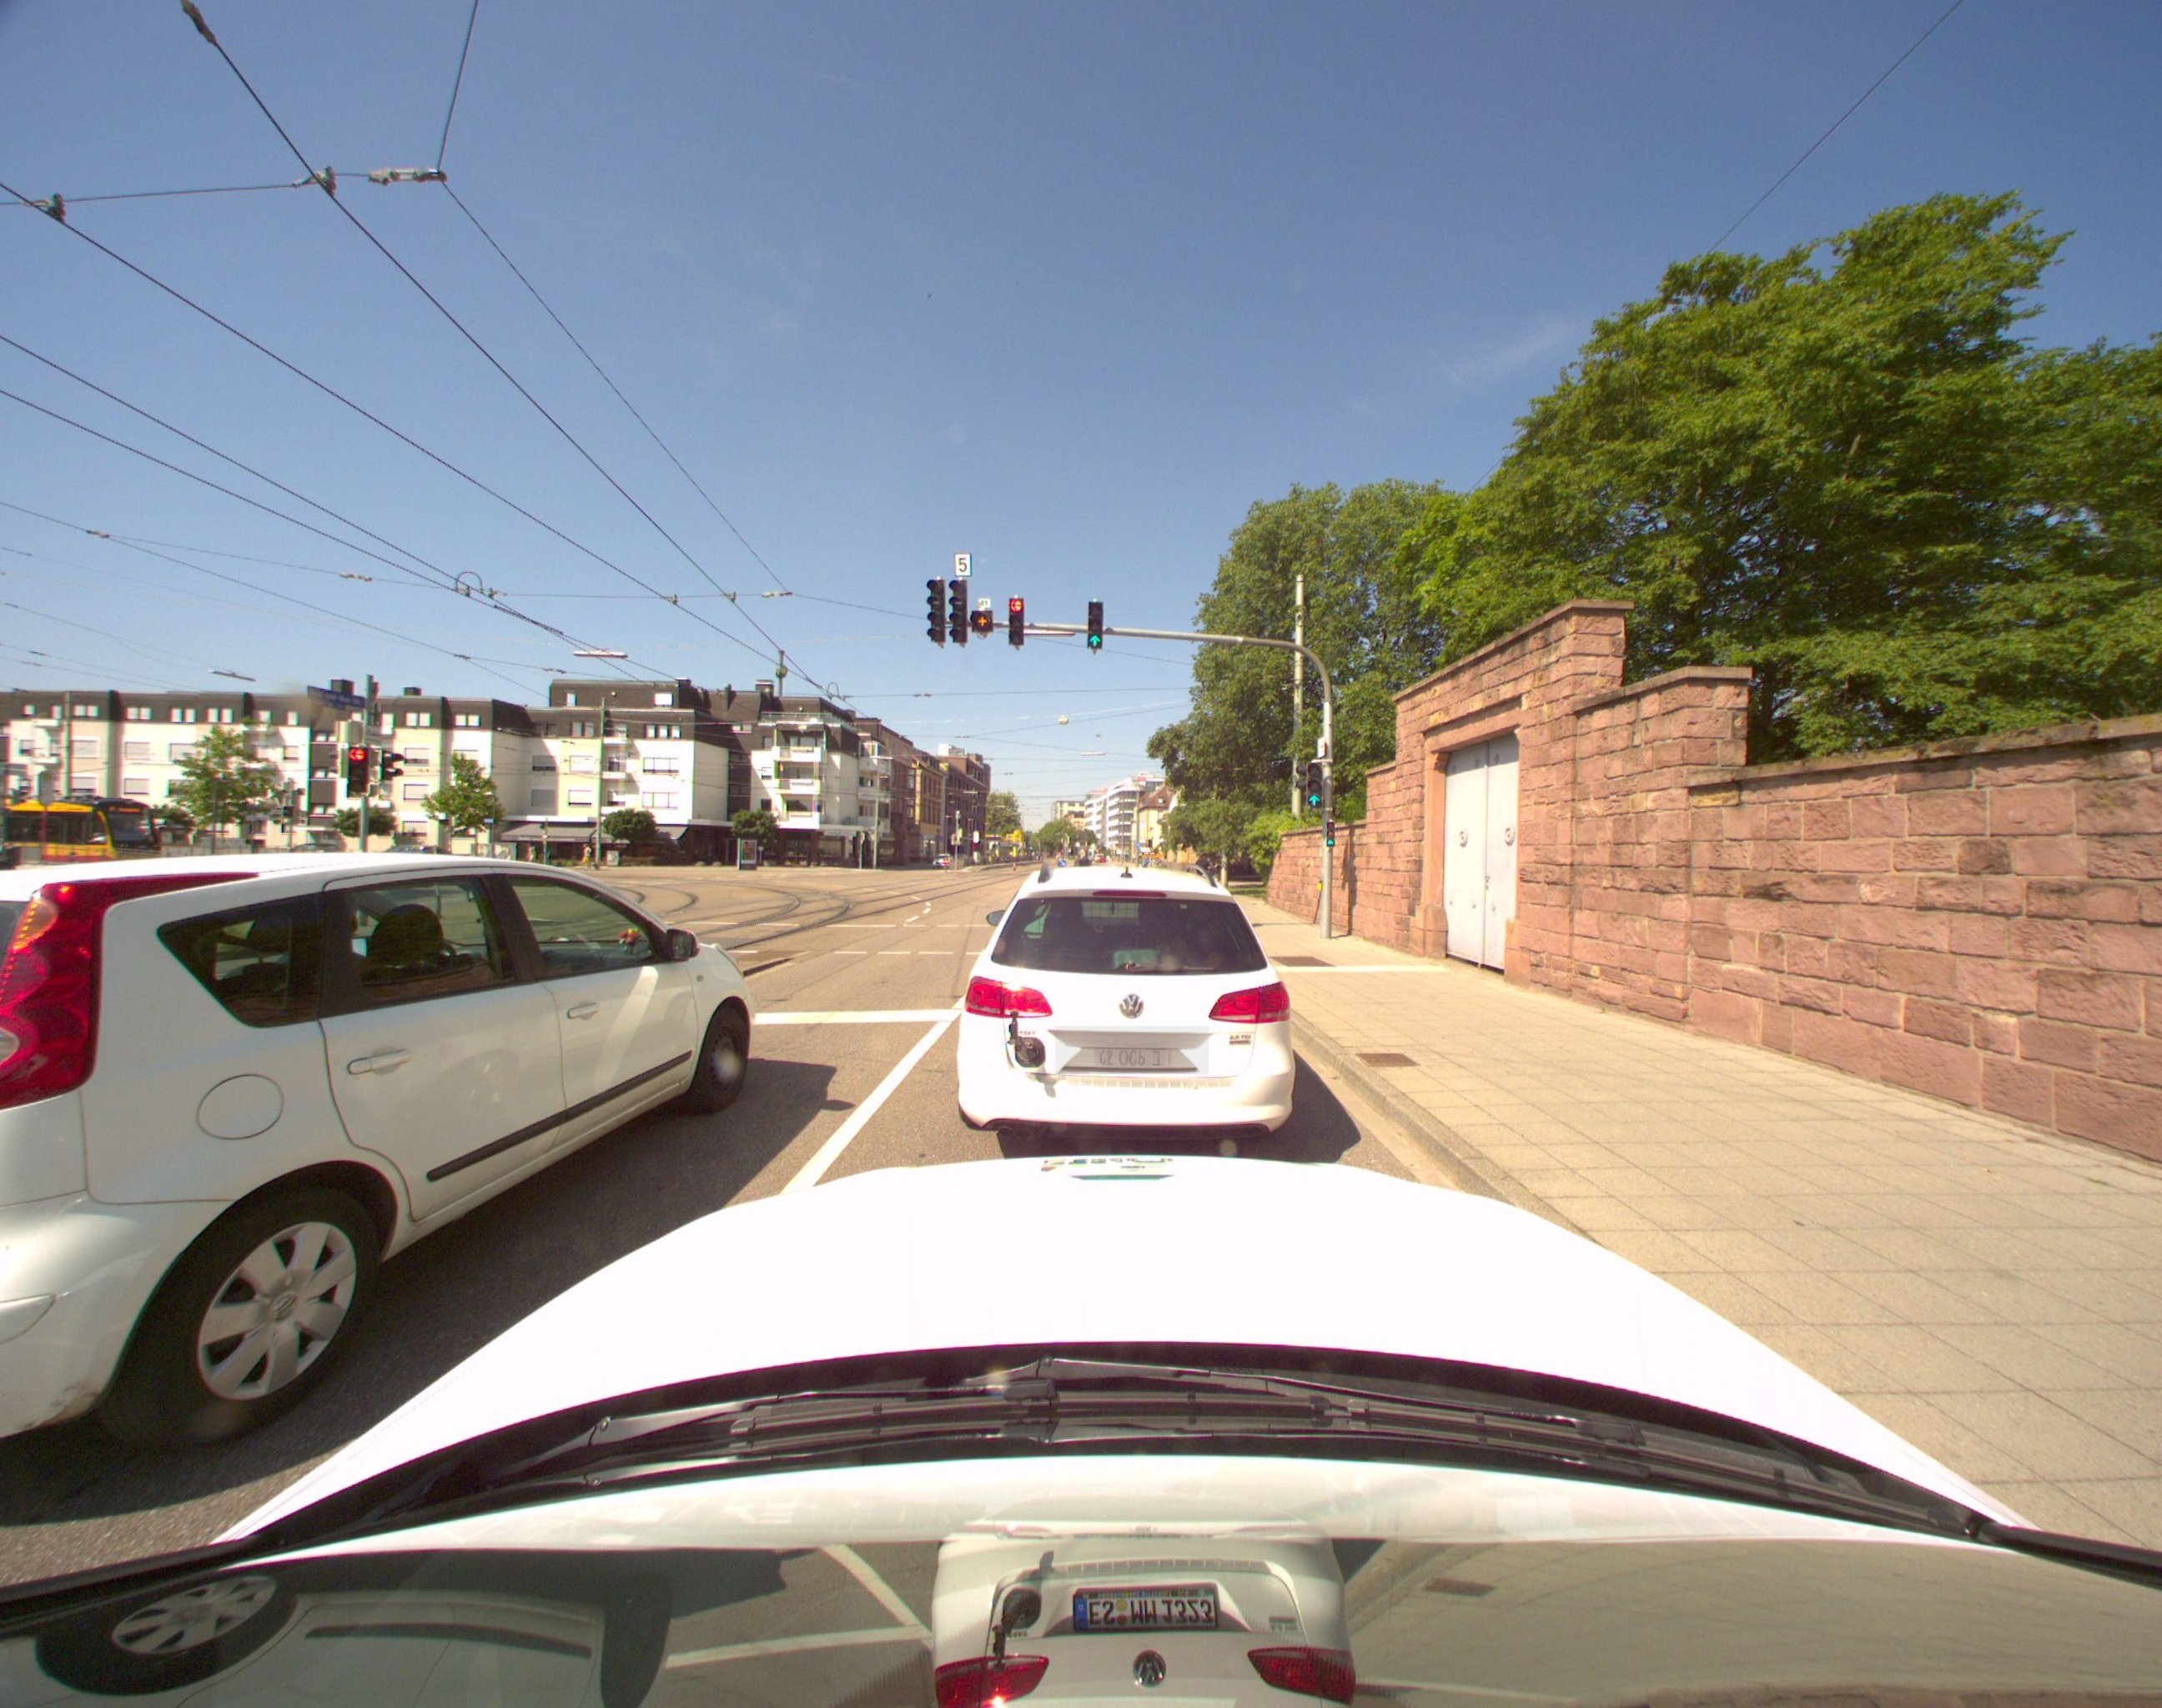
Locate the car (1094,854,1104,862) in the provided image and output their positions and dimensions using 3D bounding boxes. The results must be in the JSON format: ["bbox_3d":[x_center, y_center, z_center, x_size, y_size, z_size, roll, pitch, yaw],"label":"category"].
[{"bbox_3d":[4.395,0.902,197.979,1.989,2.013,3.996,1,0,-3],"label":"car"}]

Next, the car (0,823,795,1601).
[{"bbox_3d":[-2.954,0.727,3.686,1.759,1.561,4.068,0,0,2],"label":"car"}]

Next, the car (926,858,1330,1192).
[{"bbox_3d":[0.268,0.753,5.493,1.746,1.418,3.854,1,0,2],"label":"car"}]

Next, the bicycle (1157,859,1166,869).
[{"bbox_3d":[8.900,1.101,90.201,0.720,1.139,2.203,1,0,14],"label":"bicycle"}]

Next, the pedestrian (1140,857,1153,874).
[{"bbox_3d":[5.937,1.005,73.801,0.848,1.510,0.786,0,-1,43],"label":"pedestrian"}]

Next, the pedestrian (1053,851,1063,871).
[{"bbox_3d":[-2.132,0.655,74.274,0.823,1.809,0.834,1,0,2],"label":"pedestrian"}]

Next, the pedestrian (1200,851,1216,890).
[{"bbox_3d":[5.579,0.698,35.758,0.646,1.682,0.709,1,0,8],"label":"pedestrian"}]

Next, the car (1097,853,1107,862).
[{"bbox_3d":[5.033,0.890,192.555,1.989,2.013,3.996,1,0,-3],"label":"car"}]

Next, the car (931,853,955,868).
[{"bbox_3d":[-13.694,0.634,80.877,1.620,1.431,3.962,2,0,0],"label":"car"}]

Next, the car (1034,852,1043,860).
[{"bbox_3d":[-11.132,0.460,212.767,1.987,2.014,3.999,0,-1,0],"label":"car"}]

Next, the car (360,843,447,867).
[{"bbox_3d":[-44.933,0.066,54.079,4.158,1.500,1.828,1,0,0],"label":"car"}]

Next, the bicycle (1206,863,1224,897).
[{"bbox_3d":[4.481,0.846,27.164,0.532,1.111,1.812,0,-1,11],"label":"bicycle"}]

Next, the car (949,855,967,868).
[{"bbox_3d":[-13.360,0.804,88.627,1.568,1.459,3.811,1,0,-2],"label":"car"}]

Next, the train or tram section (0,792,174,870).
[{"bbox_3d":[-53.596,-1.166,40.516,13.814,3.658,2.769,1,0,1],"label":"train or tram section"}]

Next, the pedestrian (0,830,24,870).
[{"bbox_3d":[-50.010,-0.202,37.620,1.193,1.837,0.897,1,0,1],"label":"pedestrian"}]

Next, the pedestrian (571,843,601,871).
[{"bbox_3d":[-33.325,0.194,54.841,1.108,1.836,1.448,0,0,40],"label":"pedestrian"}]

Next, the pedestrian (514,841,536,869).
[{"bbox_3d":[-35.108,0.060,51.434,0.758,1.760,0.811,1,0,0],"label":"pedestrian"}]

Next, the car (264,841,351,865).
[{"bbox_3d":[-51.199,-0.080,53.925,3.973,1.500,1.828,1,0,0],"label":"car"}]

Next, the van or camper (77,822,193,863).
[{"bbox_3d":[-62.650,-0.751,54.001,4.859,2.624,2.376,1,0,0],"label":"van or camper"}]

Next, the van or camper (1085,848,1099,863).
[{"bbox_3d":[2.400,0.248,177.219,2.935,3.180,6.610,1,0,-1],"label":"van or camper"}]

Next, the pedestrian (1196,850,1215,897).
[{"bbox_3d":[4.172,0.637,27.299,0.538,1.549,0.663,-1,0,1],"label":"pedestrian"}]
